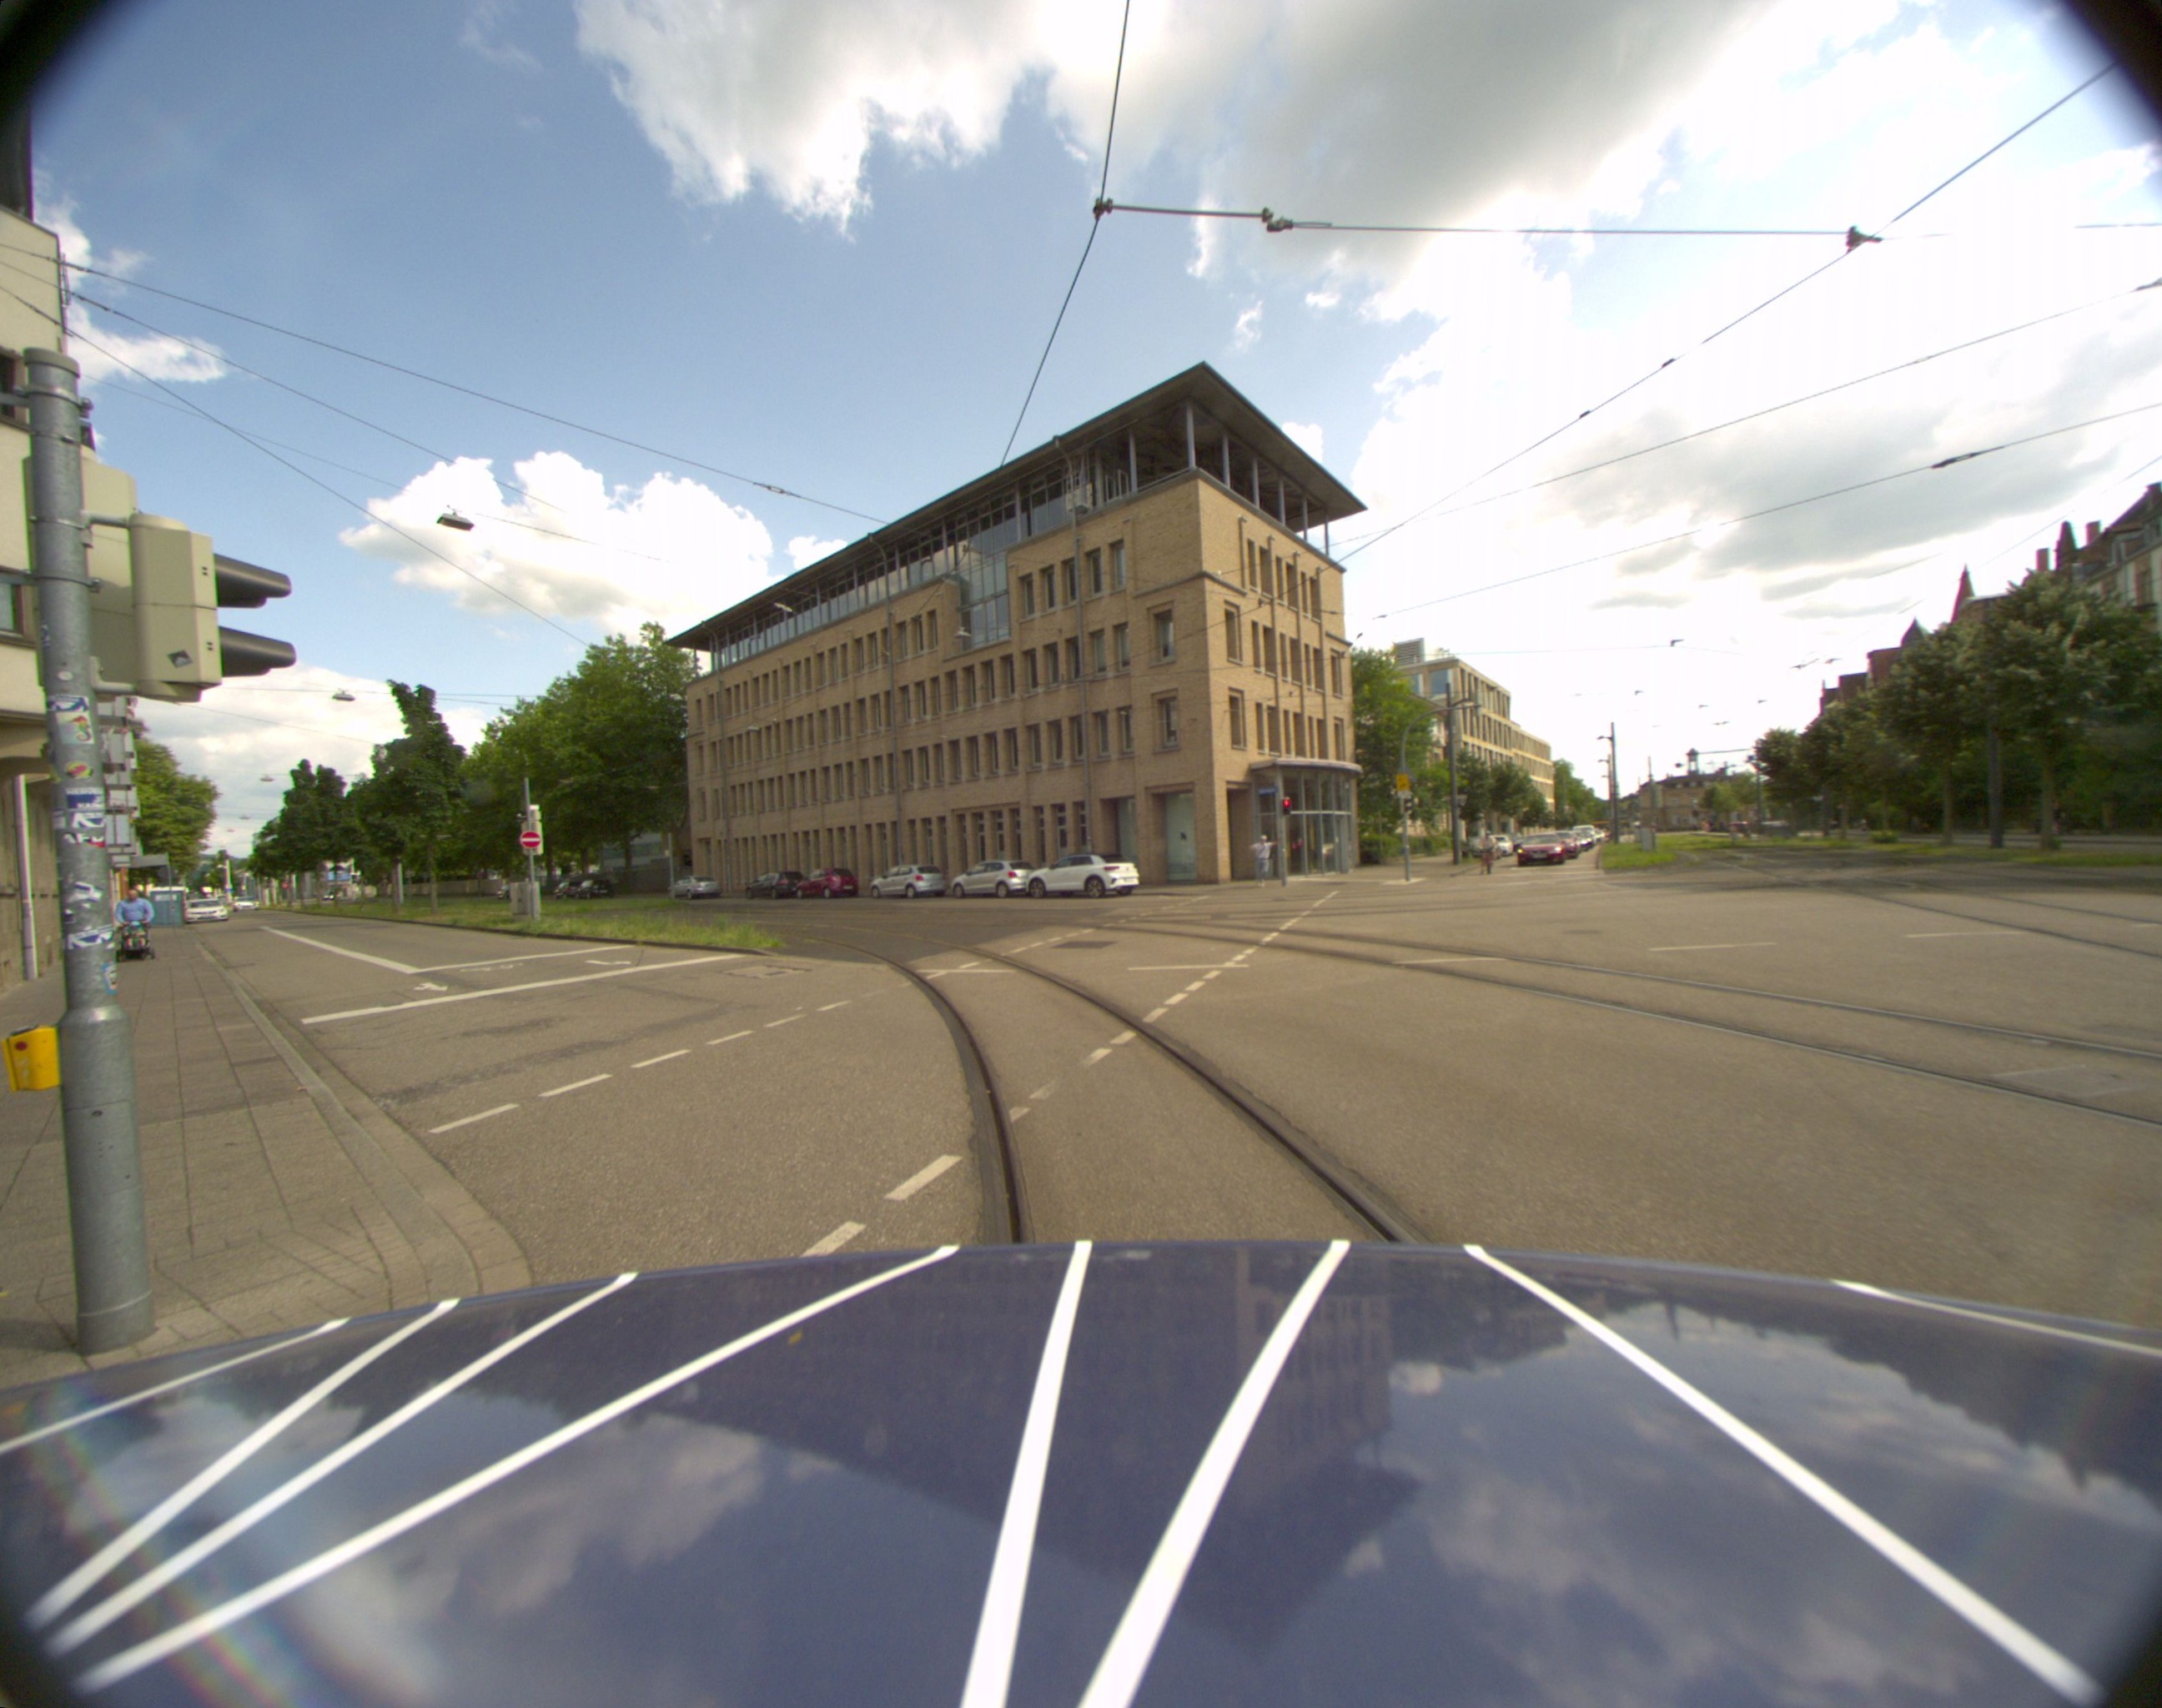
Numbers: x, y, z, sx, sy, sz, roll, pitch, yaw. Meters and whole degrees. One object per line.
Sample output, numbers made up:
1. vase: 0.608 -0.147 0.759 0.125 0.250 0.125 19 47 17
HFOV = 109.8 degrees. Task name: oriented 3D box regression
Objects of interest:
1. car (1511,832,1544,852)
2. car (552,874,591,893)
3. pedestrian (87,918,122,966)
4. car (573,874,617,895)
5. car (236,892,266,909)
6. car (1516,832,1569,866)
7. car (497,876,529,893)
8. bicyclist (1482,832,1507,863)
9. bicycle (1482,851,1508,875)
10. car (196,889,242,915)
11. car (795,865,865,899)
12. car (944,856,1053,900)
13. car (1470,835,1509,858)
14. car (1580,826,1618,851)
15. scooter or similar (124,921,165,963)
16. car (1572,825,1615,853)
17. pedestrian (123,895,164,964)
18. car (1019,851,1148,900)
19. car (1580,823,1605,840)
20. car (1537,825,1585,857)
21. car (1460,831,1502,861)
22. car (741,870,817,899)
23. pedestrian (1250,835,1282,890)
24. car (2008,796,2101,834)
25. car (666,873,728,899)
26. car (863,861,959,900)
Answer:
1. car: 33.127 -0.899 56.346 1.822 1.281 4.007 -2 1 34
2. car: -40.963 2.373 61.055 3.891 1.417 1.562 -2 1 40
3. pedestrian: -24.627 2.211 19.163 0.493 1.128 0.458 -2 1 41
4. car: -36.802 2.335 57.505 3.989 1.444 1.812 -2 1 43
5. car: -85.774 4.763 78.491 4.030 1.521 1.805 -2 2 40
6. car: 20.712 -0.251 34.156 1.886 1.368 4.007 -2 1 31
7. car: -53.130 2.876 71.086 3.989 1.455 1.606 -2 1 42
8. bicyclist: 15.712 -0.243 28.873 0.774 1.140 0.899 -2 1 32
9. bicycle: 15.694 0.325 28.785 0.716 0.822 2.152 -2 1 31
10. car: -56.536 3.125 49.795 4.030 1.521 1.806 -3 1 40
11. car: -12.254 1.374 37.031 3.539 1.522 1.591 -2 1 41
12. car: -3.261 0.949 29.594 4.003 1.522 1.943 -2 1 41
13. car: 26.538 -0.497 49.303 1.822 1.281 4.007 -2 1 34
14. car: 34.402 -1.047 50.562 1.995 1.543 4.007 -2 1 33
15. scooter or similar: -23.780 2.218 19.303 0.903 0.996 0.596 -2 -3 41
16. car: 30.721 -0.912 45.601 1.995 1.543 4.007 -2 1 33
17. pedestrian: -24.496 1.939 19.863 0.875 1.728 0.624 -2 -1 41
18. car: 0.021 0.750 26.722 4.246 1.526 1.943 -2 1 41
19. car: 50.783 -2.292 75.480 1.995 1.543 4.007 -2 1 33
20. car: 25.151 -0.707 39.782 1.995 1.543 4.007 -2 1 33
21. car: 23.030 -0.484 43.692 1.886 1.564 4.007 -2 1 31
22. car: -15.826 1.595 39.747 4.227 1.388 1.943 -2 1 41
23. pedestrian: 6.236 0.271 25.611 0.958 1.785 0.763 -2 1 15
24. car: 51.233 -2.014 40.085 1.820 1.783 4.008 -2 0 34
25. car: -23.338 1.952 46.137 4.472 1.388 1.724 -2 1 41
26. car: -7.370 1.142 32.790 4.198 1.522 1.860 -2 1 41
